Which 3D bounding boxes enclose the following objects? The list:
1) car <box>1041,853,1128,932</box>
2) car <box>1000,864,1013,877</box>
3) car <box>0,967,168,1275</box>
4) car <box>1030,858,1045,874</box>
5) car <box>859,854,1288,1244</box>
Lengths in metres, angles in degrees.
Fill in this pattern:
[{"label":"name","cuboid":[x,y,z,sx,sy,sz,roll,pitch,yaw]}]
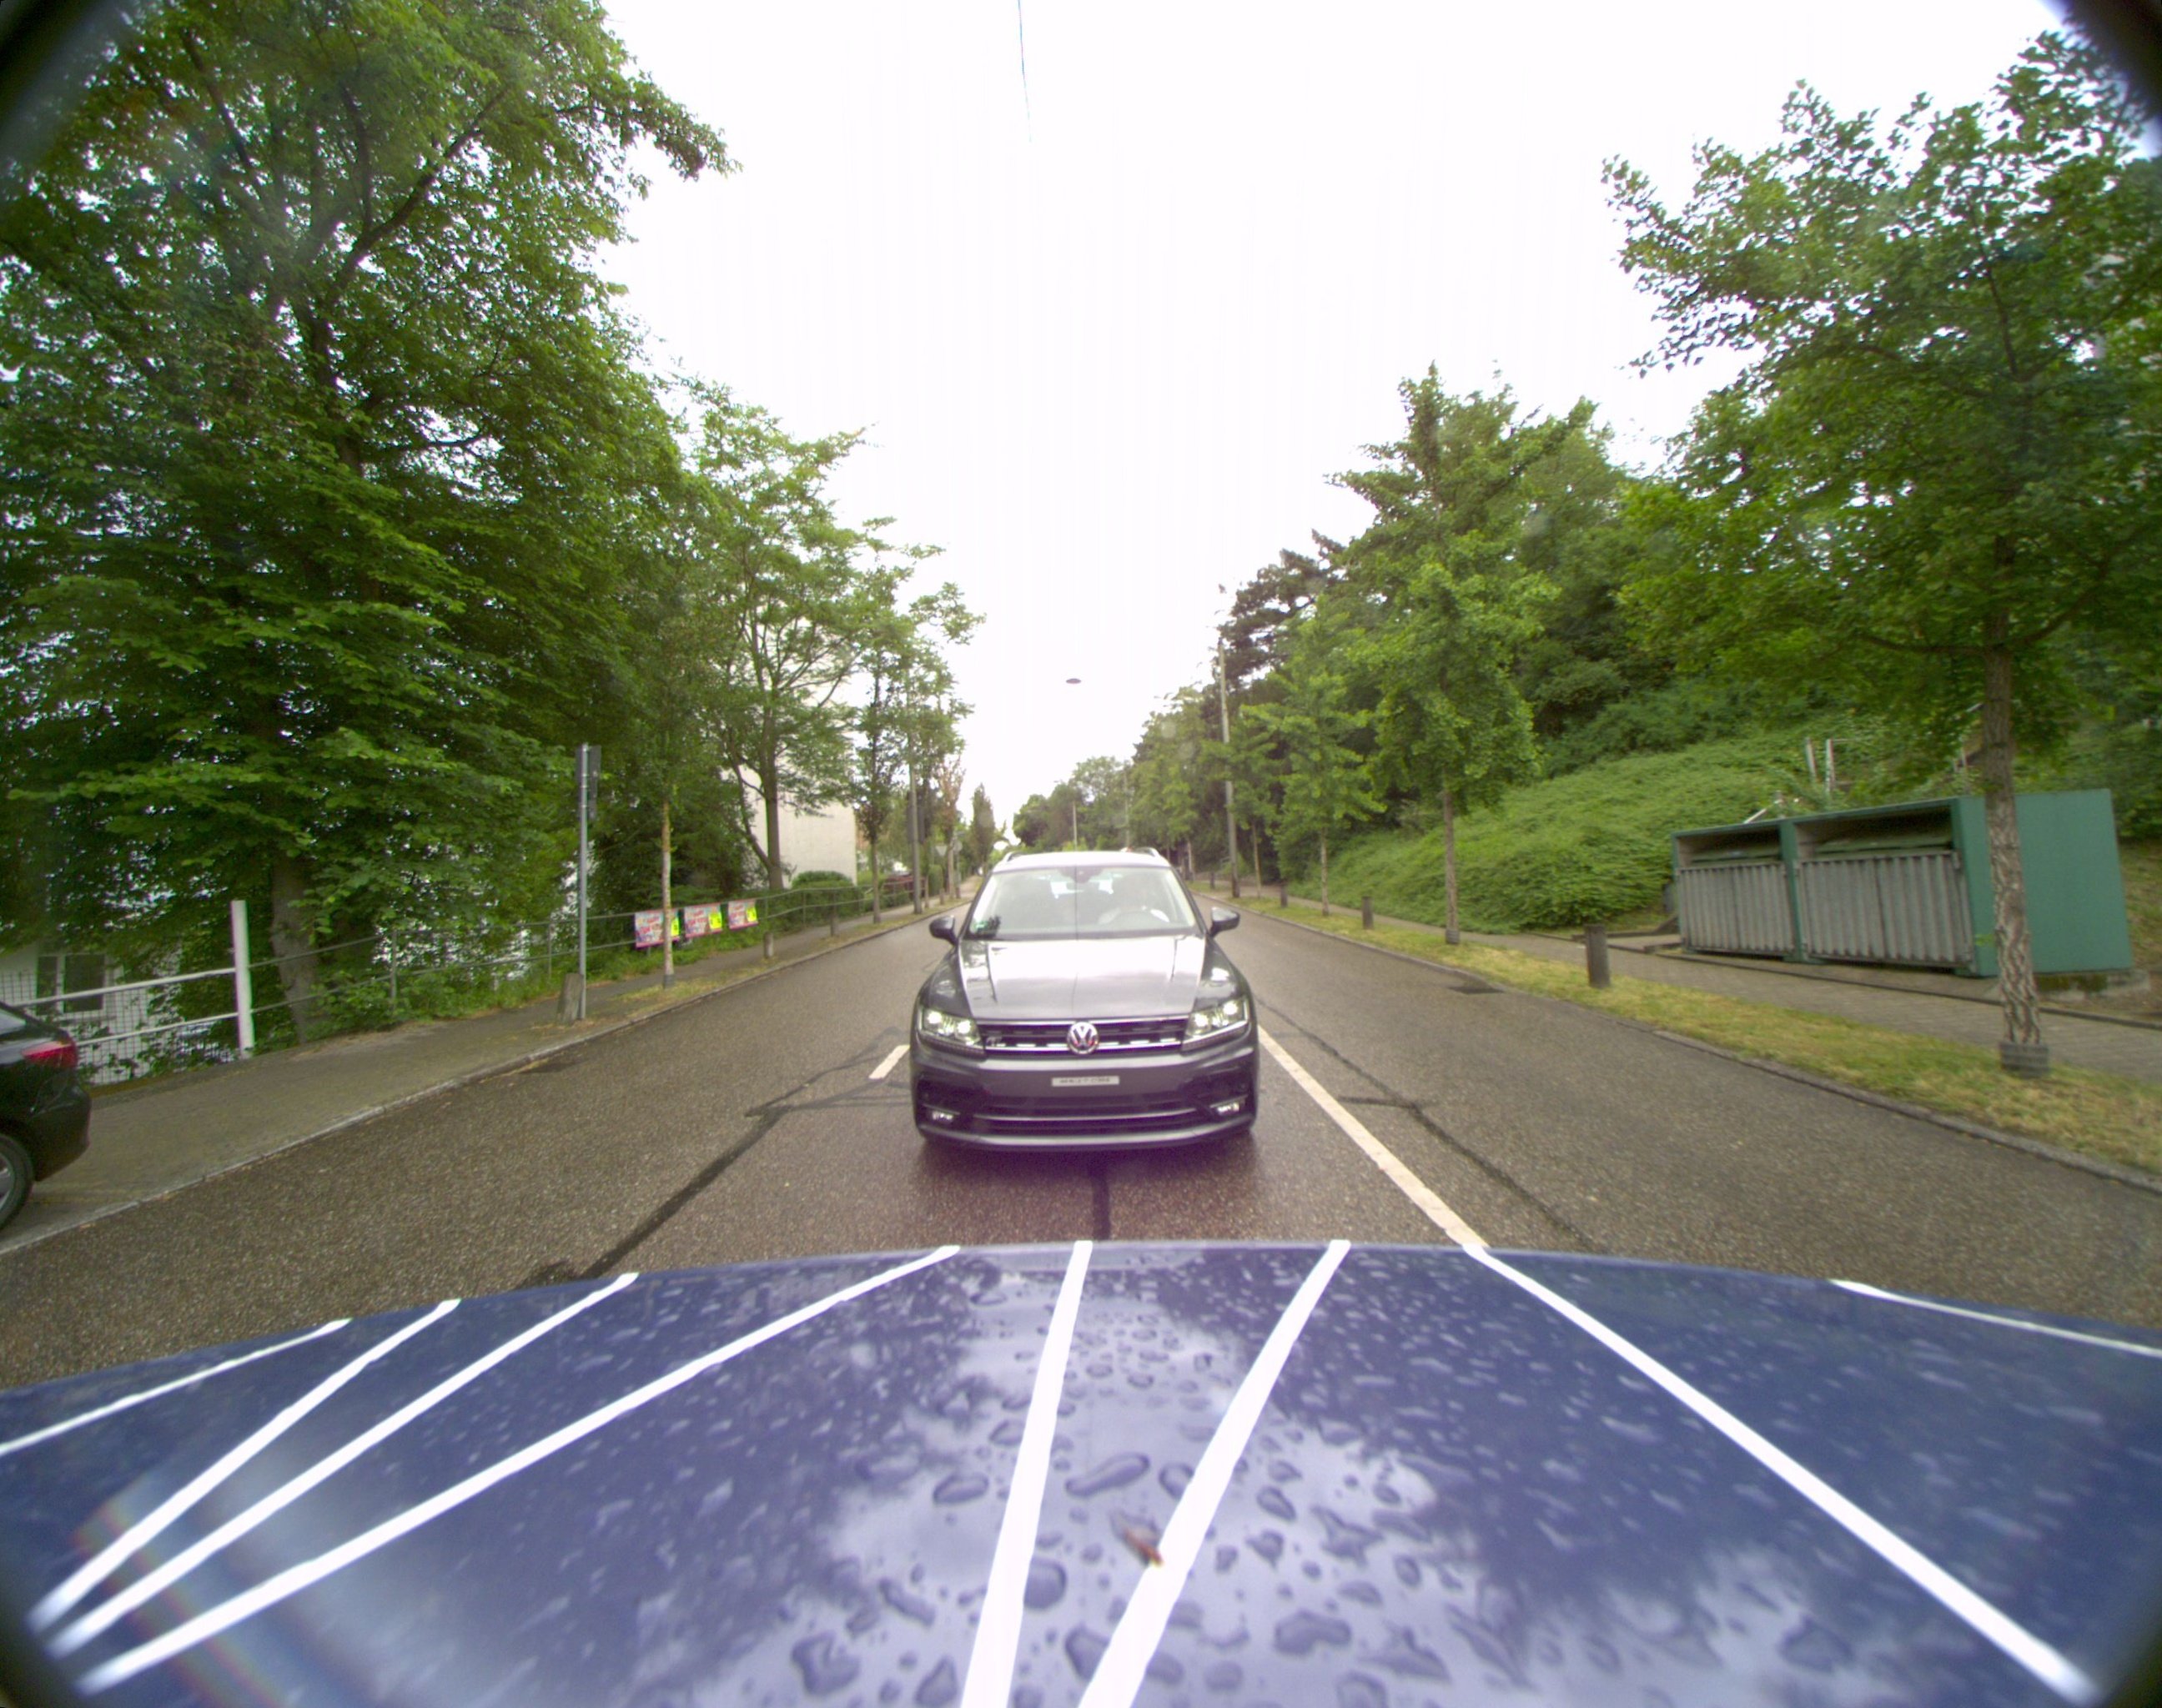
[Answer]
[{"label":"car","cuboid":[0.108,0.854,18.912,1.834,1.608,4.350,-3,1,1]},{"label":"car","cuboid":[-10.885,2.416,111.234,1.892,1.710,4.235,-1,1,-5]},{"label":"car","cuboid":[-6.332,1.388,2.213,1.999,1.426,4.442,-1,0,-1]},{"label":"car","cuboid":[-5.921,1.620,103.052,1.835,2.003,4.055,-3,1,-5]},{"label":"car","cuboid":[-0.004,0.874,5.529,1.834,1.608,4.292,-3,1,1]}]
